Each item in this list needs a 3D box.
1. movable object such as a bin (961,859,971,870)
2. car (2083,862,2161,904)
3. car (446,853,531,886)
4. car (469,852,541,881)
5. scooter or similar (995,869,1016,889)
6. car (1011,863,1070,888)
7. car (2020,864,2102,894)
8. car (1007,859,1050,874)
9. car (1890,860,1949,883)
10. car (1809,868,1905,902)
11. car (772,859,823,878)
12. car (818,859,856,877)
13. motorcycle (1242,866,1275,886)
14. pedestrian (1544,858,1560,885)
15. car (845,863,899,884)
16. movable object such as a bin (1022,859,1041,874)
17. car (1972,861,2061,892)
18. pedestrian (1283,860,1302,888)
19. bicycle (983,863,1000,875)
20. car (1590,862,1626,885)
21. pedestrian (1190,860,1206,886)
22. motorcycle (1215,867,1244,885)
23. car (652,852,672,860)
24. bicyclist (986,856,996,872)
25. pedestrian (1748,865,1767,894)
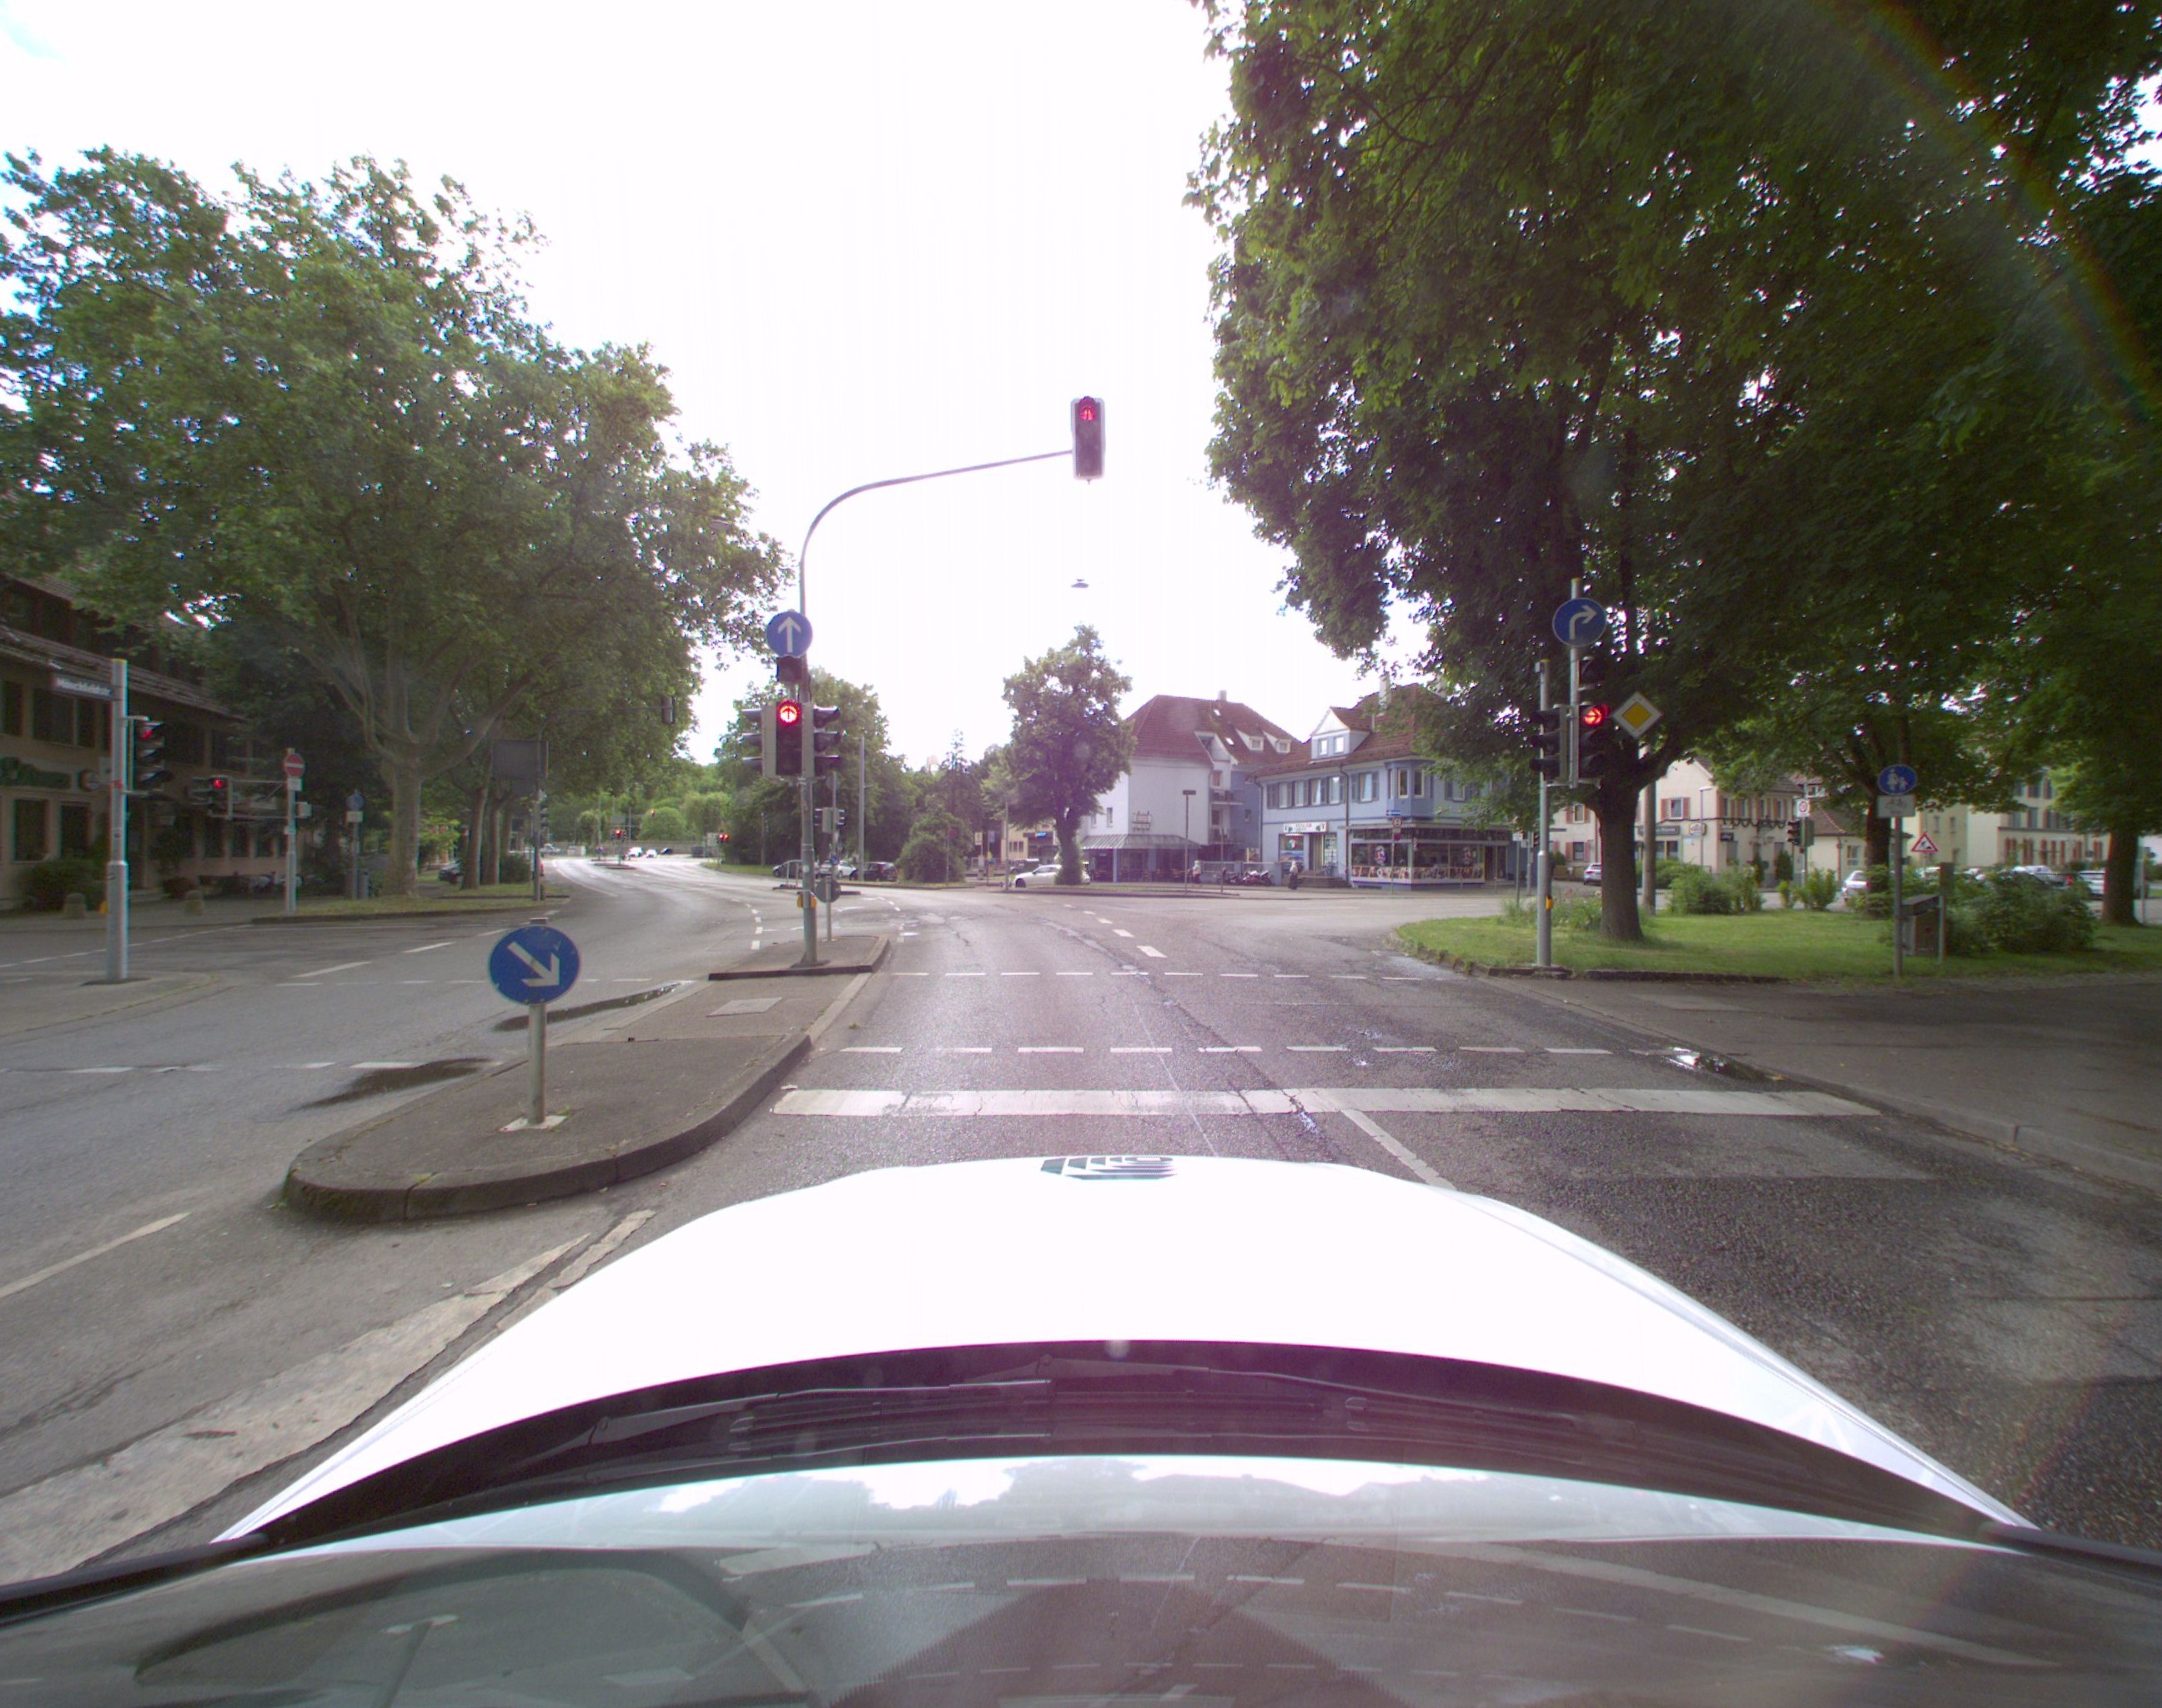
[{"bbox_3d":[-12.225,1.129,86.629,0.953,1.115,0.381,0,-1,-19],"label":"movable object such as a bin"},{"bbox_3d":[52.829,1.440,41.118,4.004,2.014,1.770,0,-1,-23],"label":"car"},{"bbox_3d":[-31.003,0.788,42.706,3.461,1.641,1.557,0,-1,-31],"label":"car"},{"bbox_3d":[-35.486,0.762,50.272,3.461,1.742,1.557,0,-1,-31],"label":"car"},{"bbox_3d":[-3.979,1.295,42.871,0.413,1.011,1.575,-1,-1,22],"label":"scooter or similar"},{"bbox_3d":[-2.310,1.207,46.228,3.134,1.354,1.448,0,-1,36],"label":"car"},{"bbox_3d":[47.002,1.171,39.051,3.511,1.321,1.549,0,0,-22],"label":"car"},{"bbox_3d":[-4.884,1.143,76.146,3.752,1.345,1.422,0,0,-25],"label":"car"},{"bbox_3d":[55.114,1.133,53.522,4.007,1.420,1.544,0,0,-26],"label":"car"},{"bbox_3d":[31.961,1.255,33.559,3.511,1.321,1.549,0,0,-22],"label":"car"},{"bbox_3d":[-22.441,1.121,64.474,3.520,1.464,1.591,0,0,14],"label":"car"},{"bbox_3d":[-20.082,1.137,67.176,1.534,1.464,3.407,0,0,13],"label":"car"},{"bbox_3d":[10.533,1.293,48.254,1.777,1.121,0.699,0,-1,40],"label":"motorcycle"},{"bbox_3d":[26.659,0.979,46.073,0.459,1.517,0.584,0,-1,-19],"label":"pedestrian"},{"bbox_3d":[-13.909,1.272,54.195,3.549,1.394,1.481,0,-1,34],"label":"car"},{"bbox_3d":[-4.527,1.141,74.238,1.447,1.409,0.959,0,-1,-25],"label":"movable object such as a bin"},{"bbox_3d":[42.214,0.980,36.744,3.510,1.321,1.549,0,0,-21],"label":"car"},{"bbox_3d":[11.834,1.110,45.554,0.759,1.545,0.682,-1,-1,41],"label":"pedestrian"},{"bbox_3d":[-8.801,1.444,80.077,0.596,1.112,1.590,-1,-1,45],"label":"bicycle"},{"bbox_3d":[32.601,1.190,50.332,1.481,1.369,3.198,-1,-1,40],"label":"car"},{"bbox_3d":[7.084,1.151,49.450,0.699,1.545,0.682,-1,-1,42],"label":"pedestrian"},{"bbox_3d":[9.112,1.319,50.068,0.699,1.064,1.617,0,-1,-44],"label":"motorcycle"},{"bbox_3d":[-95.506,0.453,185.589,4.011,2.014,1.981,0,-1,-29],"label":"car"},{"bbox_3d":[-8.851,0.993,80.030,0.592,1.541,0.744,-1,-1,45],"label":"bicyclist"},{"bbox_3d":[38.691,1.456,46.590,0.610,1.649,0.606,0,-1,-26],"label":"pedestrian"}]
